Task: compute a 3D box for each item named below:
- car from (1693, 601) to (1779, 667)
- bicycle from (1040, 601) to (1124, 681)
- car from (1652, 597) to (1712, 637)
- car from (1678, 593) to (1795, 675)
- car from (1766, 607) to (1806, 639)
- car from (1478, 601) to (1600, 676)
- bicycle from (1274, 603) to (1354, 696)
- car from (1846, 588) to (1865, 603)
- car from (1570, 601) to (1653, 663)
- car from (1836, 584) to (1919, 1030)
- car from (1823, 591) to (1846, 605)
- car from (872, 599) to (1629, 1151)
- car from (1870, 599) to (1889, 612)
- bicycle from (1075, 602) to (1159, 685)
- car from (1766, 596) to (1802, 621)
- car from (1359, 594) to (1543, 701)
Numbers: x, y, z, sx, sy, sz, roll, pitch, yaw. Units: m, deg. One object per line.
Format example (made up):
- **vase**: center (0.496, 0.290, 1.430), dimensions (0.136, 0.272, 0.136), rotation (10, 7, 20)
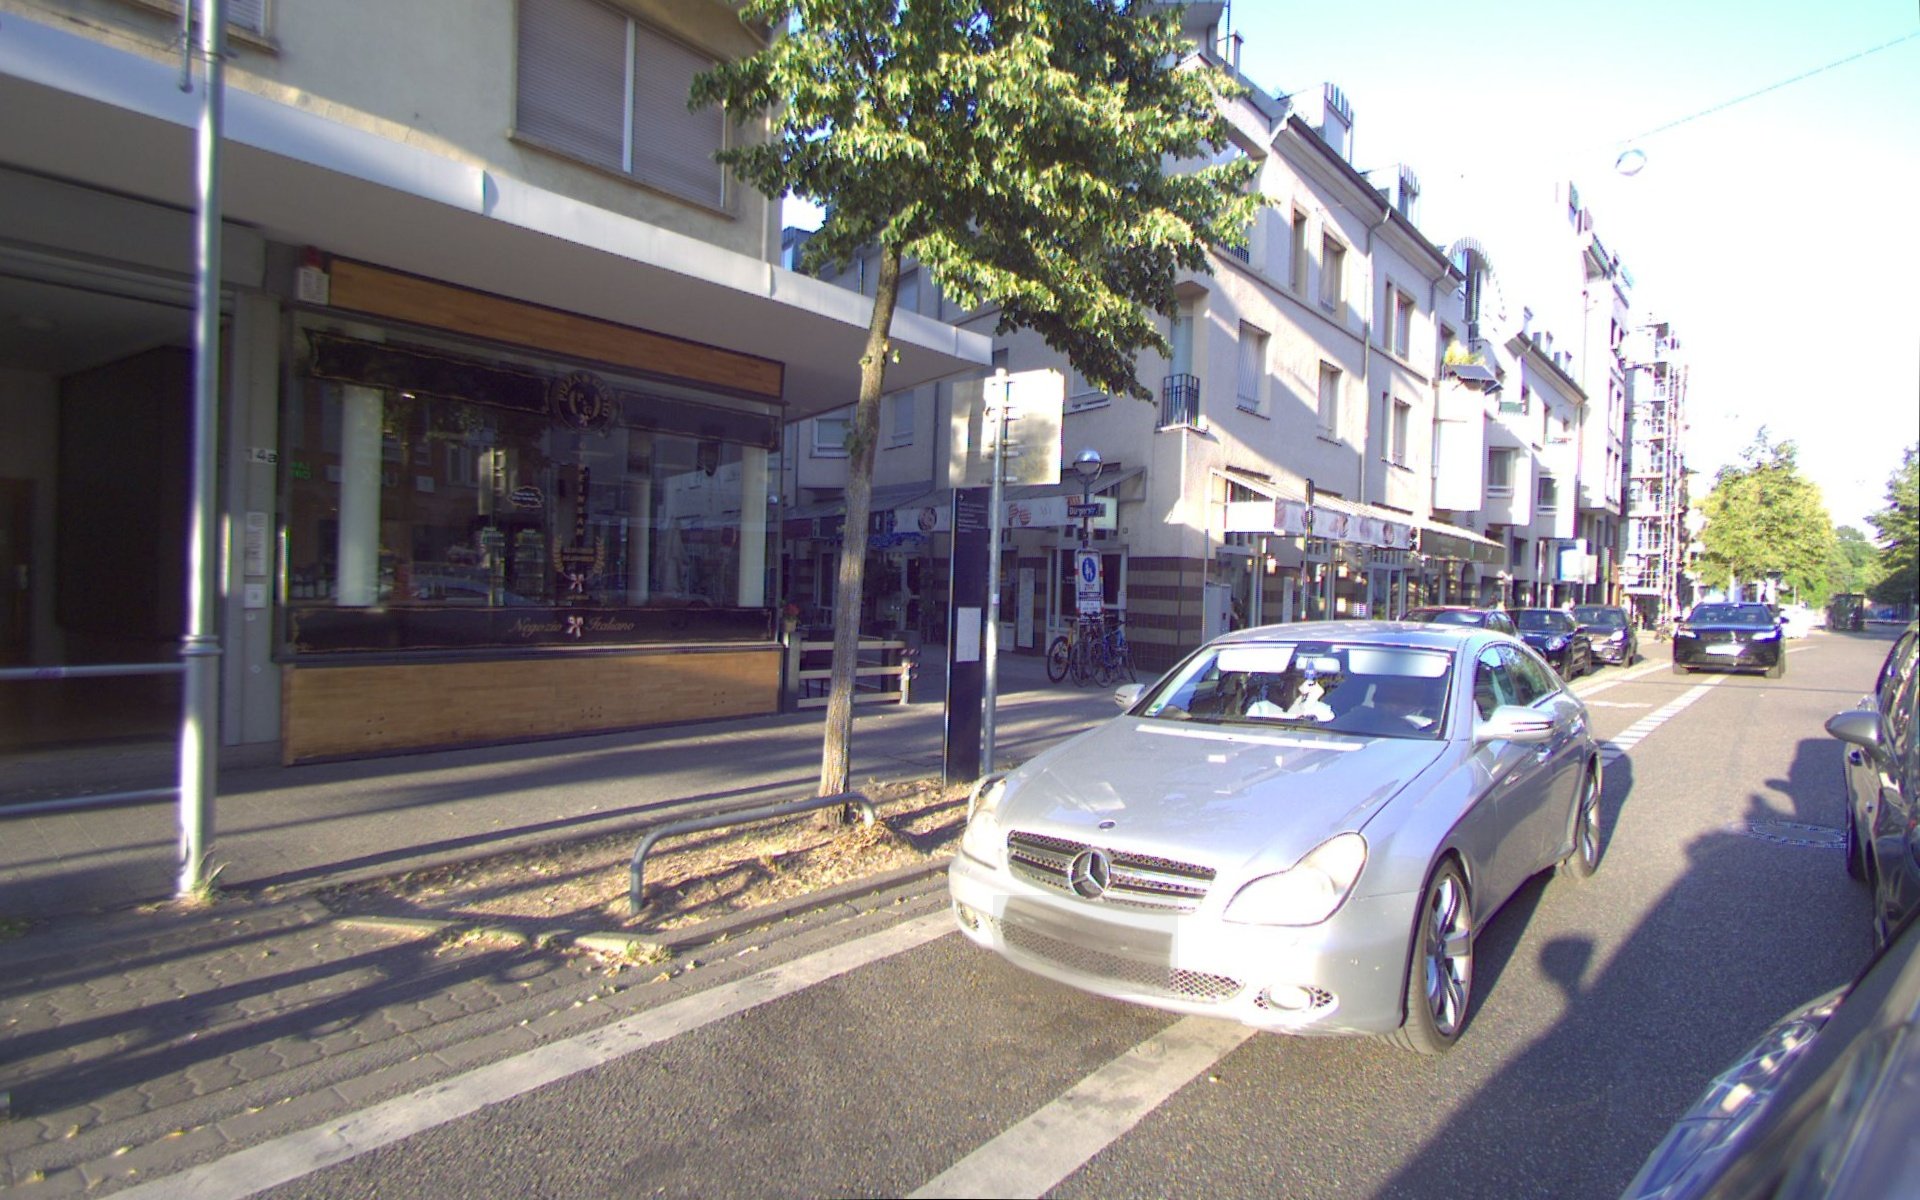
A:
- **car**: center (20.365, 0.821, 26.510), dimensions (1.684, 1.562, 3.679), rotation (0, 0, 39)
- **bicycle**: center (1.931, 0.607, 15.761), dimensions (0.330, 1.144, 1.986), rotation (1, 1, 37)
- **car**: center (31.488, 0.692, 44.096), dimensions (1.760, 1.591, 3.814), rotation (3, 2, 41)
- **car**: center (17.627, 0.693, 22.915), dimensions (1.889, 1.663, 3.694), rotation (1, 1, 41)
- **car**: center (46.492, 1.262, 56.939), dimensions (1.686, 1.675, 3.679), rotation (0, 0, 41)
- **car**: center (12.006, 0.721, 20.889), dimensions (1.608, 1.412, 3.642), rotation (0, 0, 39)
- **bicycle**: center (5.219, 0.696, 14.874), dimensions (0.503, 1.253, 1.687), rotation (3, 2, 40)
- **car**: center (106.543, -0.531, 120.419), dimensions (1.667, 1.660, 3.207), rotation (0, 0, 42)
- **car**: center (17.018, 0.789, 26.385), dimensions (1.426, 1.469, 3.331), rotation (1, 1, 40)
- **car**: center (4.879, 0.695, 4.249), dimensions (1.580, 1.471, 3.790), rotation (1, 1, 38)
- **car**: center (95.399, -0.237, 110.423), dimensions (3.173, 1.490, 1.612), rotation (-1, 0, -44)
- **car**: center (1.813, 0.701, 4.895), dimensions (1.784, 1.386, 4.504), rotation (0, 0, 41)
- **car**: center (133.953, 0.718, 147.396), dimensions (3.525, 1.829, 1.842), rotation (-1, 0, -44)
- **bicycle**: center (2.410, 0.628, 15.381), dimensions (0.330, 1.144, 1.986), rotation (3, 2, 37)
- **car**: center (57.826, 0.595, 71.004), dimensions (1.760, 1.652, 3.814), rotation (3, 2, 41)
- **car**: center (7.762, 0.658, 15.819), dimensions (1.647, 1.446, 3.940), rotation (0, 0, 41)
